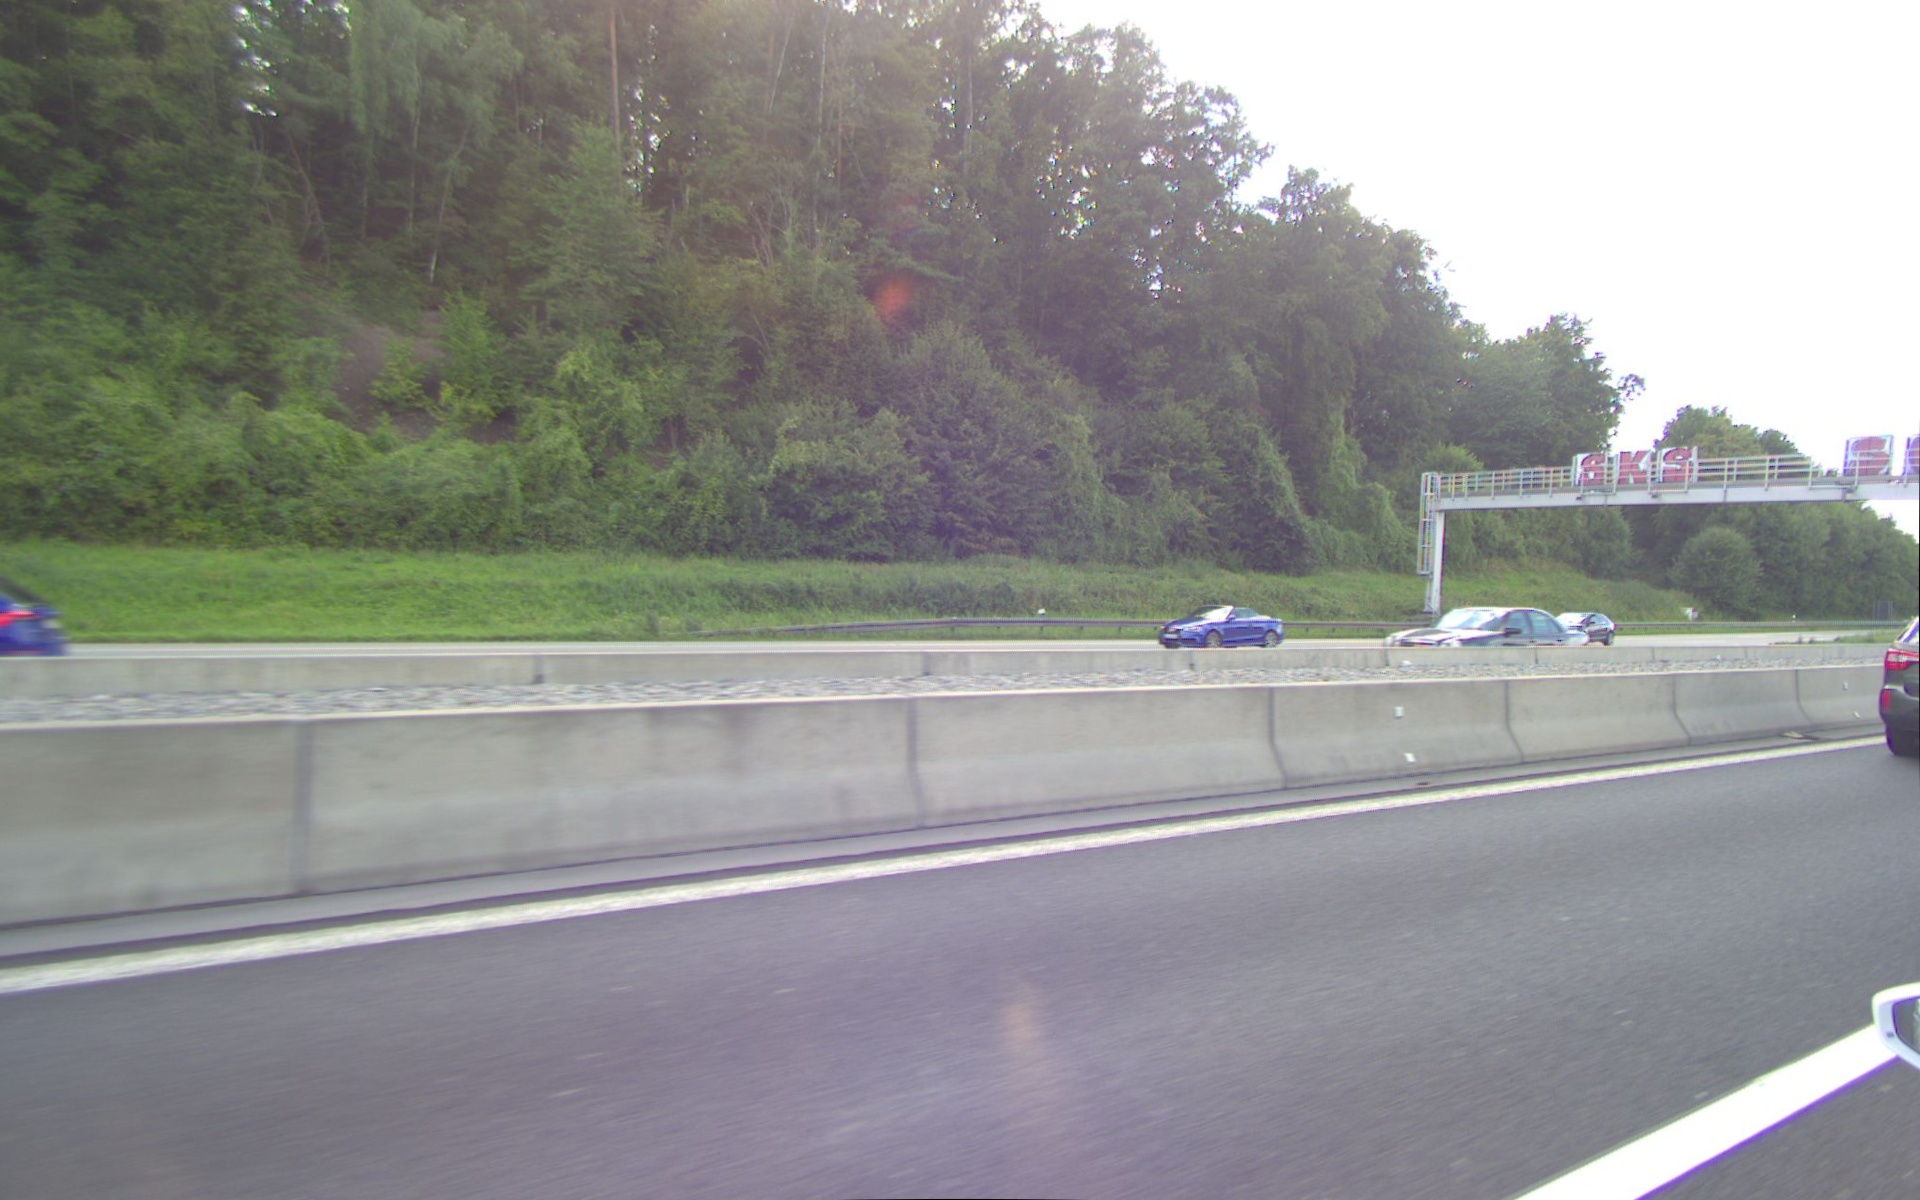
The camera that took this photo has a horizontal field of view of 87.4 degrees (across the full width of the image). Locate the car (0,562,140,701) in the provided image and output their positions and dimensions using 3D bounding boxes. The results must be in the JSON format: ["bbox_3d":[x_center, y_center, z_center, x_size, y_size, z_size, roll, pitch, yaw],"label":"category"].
[{"bbox_3d":[-12.592,0.303,11.450,4.681,1.560,1.985,1,0,-29],"label":"car"}]

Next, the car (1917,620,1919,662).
[{"bbox_3d":[38.099,1.573,37.599,5.224,1.556,1.983,1,0,-31],"label":"car"}]

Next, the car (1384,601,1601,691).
[{"bbox_3d":[10.430,0.863,19.595,4.450,1.560,1.690,1,0,-31],"label":"car"}]

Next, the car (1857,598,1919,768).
[{"bbox_3d":[12.375,0.926,11.429,5.128,1.759,1.808,1,0,-31],"label":"car"}]

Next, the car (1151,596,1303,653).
[{"bbox_3d":[8.077,0.729,30.312,4.506,1.595,1.795,1,0,-31],"label":"car"}]

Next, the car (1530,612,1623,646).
[{"bbox_3d":[26.130,1.213,42.557,4.144,1.329,1.811,1,0,-34],"label":"car"}]
